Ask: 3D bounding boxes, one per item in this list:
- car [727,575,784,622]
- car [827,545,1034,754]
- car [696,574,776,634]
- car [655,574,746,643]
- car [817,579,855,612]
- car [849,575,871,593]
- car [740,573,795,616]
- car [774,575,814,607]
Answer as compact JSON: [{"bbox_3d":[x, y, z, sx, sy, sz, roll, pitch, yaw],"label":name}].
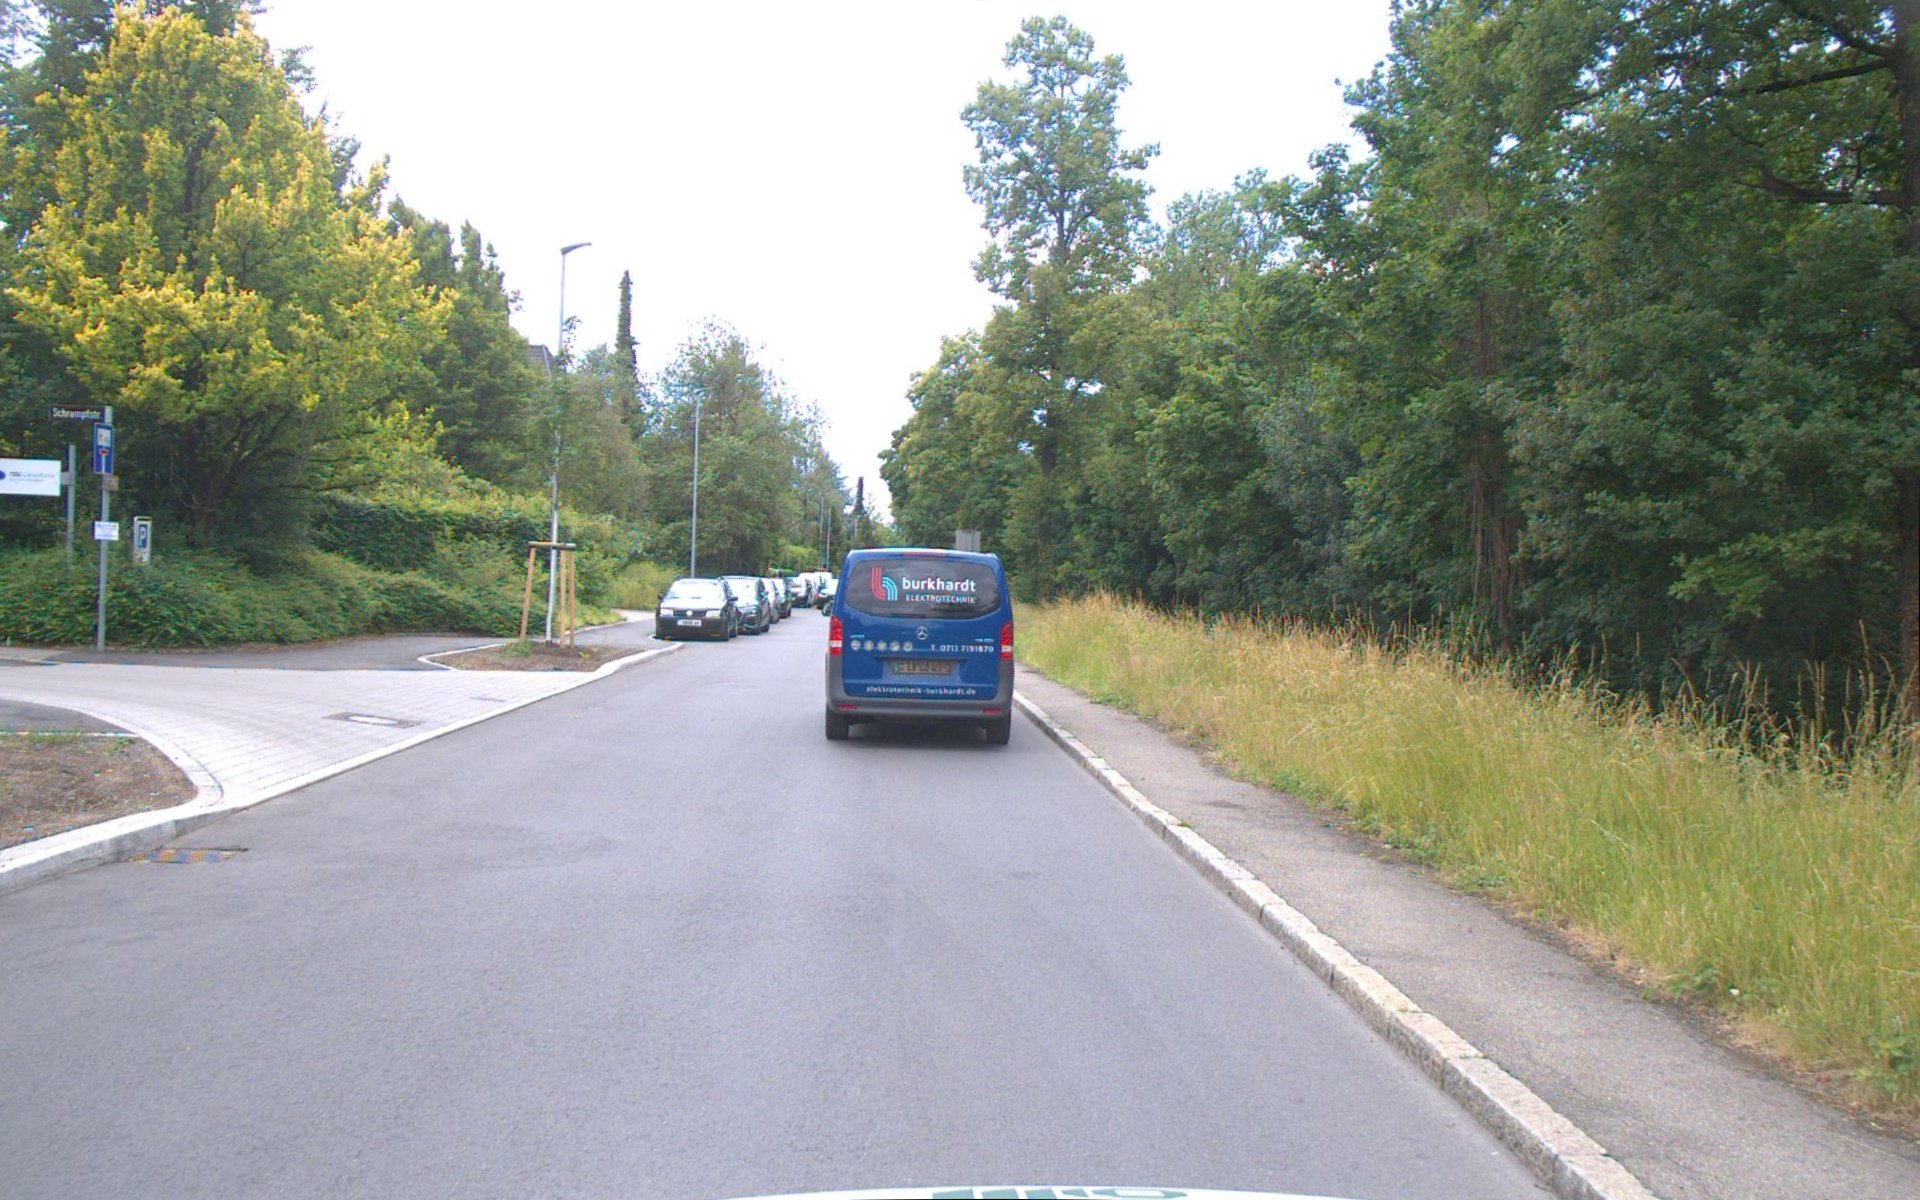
[{"bbox_3d":[-6.766,-0.086,55.128,1.592,1.457,4.348,2,1,-4],"label":"car"},{"bbox_3d":[-0.426,0.418,17.392,1.852,1.876,3.997,2,1,-5],"label":"car"},{"bbox_3d":[-6.049,0.076,45.042,1.672,1.508,4.494,2,1,-2],"label":"car"},{"bbox_3d":[-6.214,0.163,40.058,1.649,1.508,4.690,2,1,-3],"label":"car"},{"bbox_3d":[-6.074,-0.245,81.471,1.745,1.450,4.486,3,1,-4],"label":"car"},{"bbox_3d":[-10.383,-1.634,171.891,1.799,1.659,4.301,5,0,1],"label":"car"},{"bbox_3d":[-7.124,-0.220,61.603,1.743,1.456,5.101,3,1,-4],"label":"car"},{"bbox_3d":[-8.170,-0.457,81.786,1.590,1.475,3.968,2,1,-1],"label":"car"}]
